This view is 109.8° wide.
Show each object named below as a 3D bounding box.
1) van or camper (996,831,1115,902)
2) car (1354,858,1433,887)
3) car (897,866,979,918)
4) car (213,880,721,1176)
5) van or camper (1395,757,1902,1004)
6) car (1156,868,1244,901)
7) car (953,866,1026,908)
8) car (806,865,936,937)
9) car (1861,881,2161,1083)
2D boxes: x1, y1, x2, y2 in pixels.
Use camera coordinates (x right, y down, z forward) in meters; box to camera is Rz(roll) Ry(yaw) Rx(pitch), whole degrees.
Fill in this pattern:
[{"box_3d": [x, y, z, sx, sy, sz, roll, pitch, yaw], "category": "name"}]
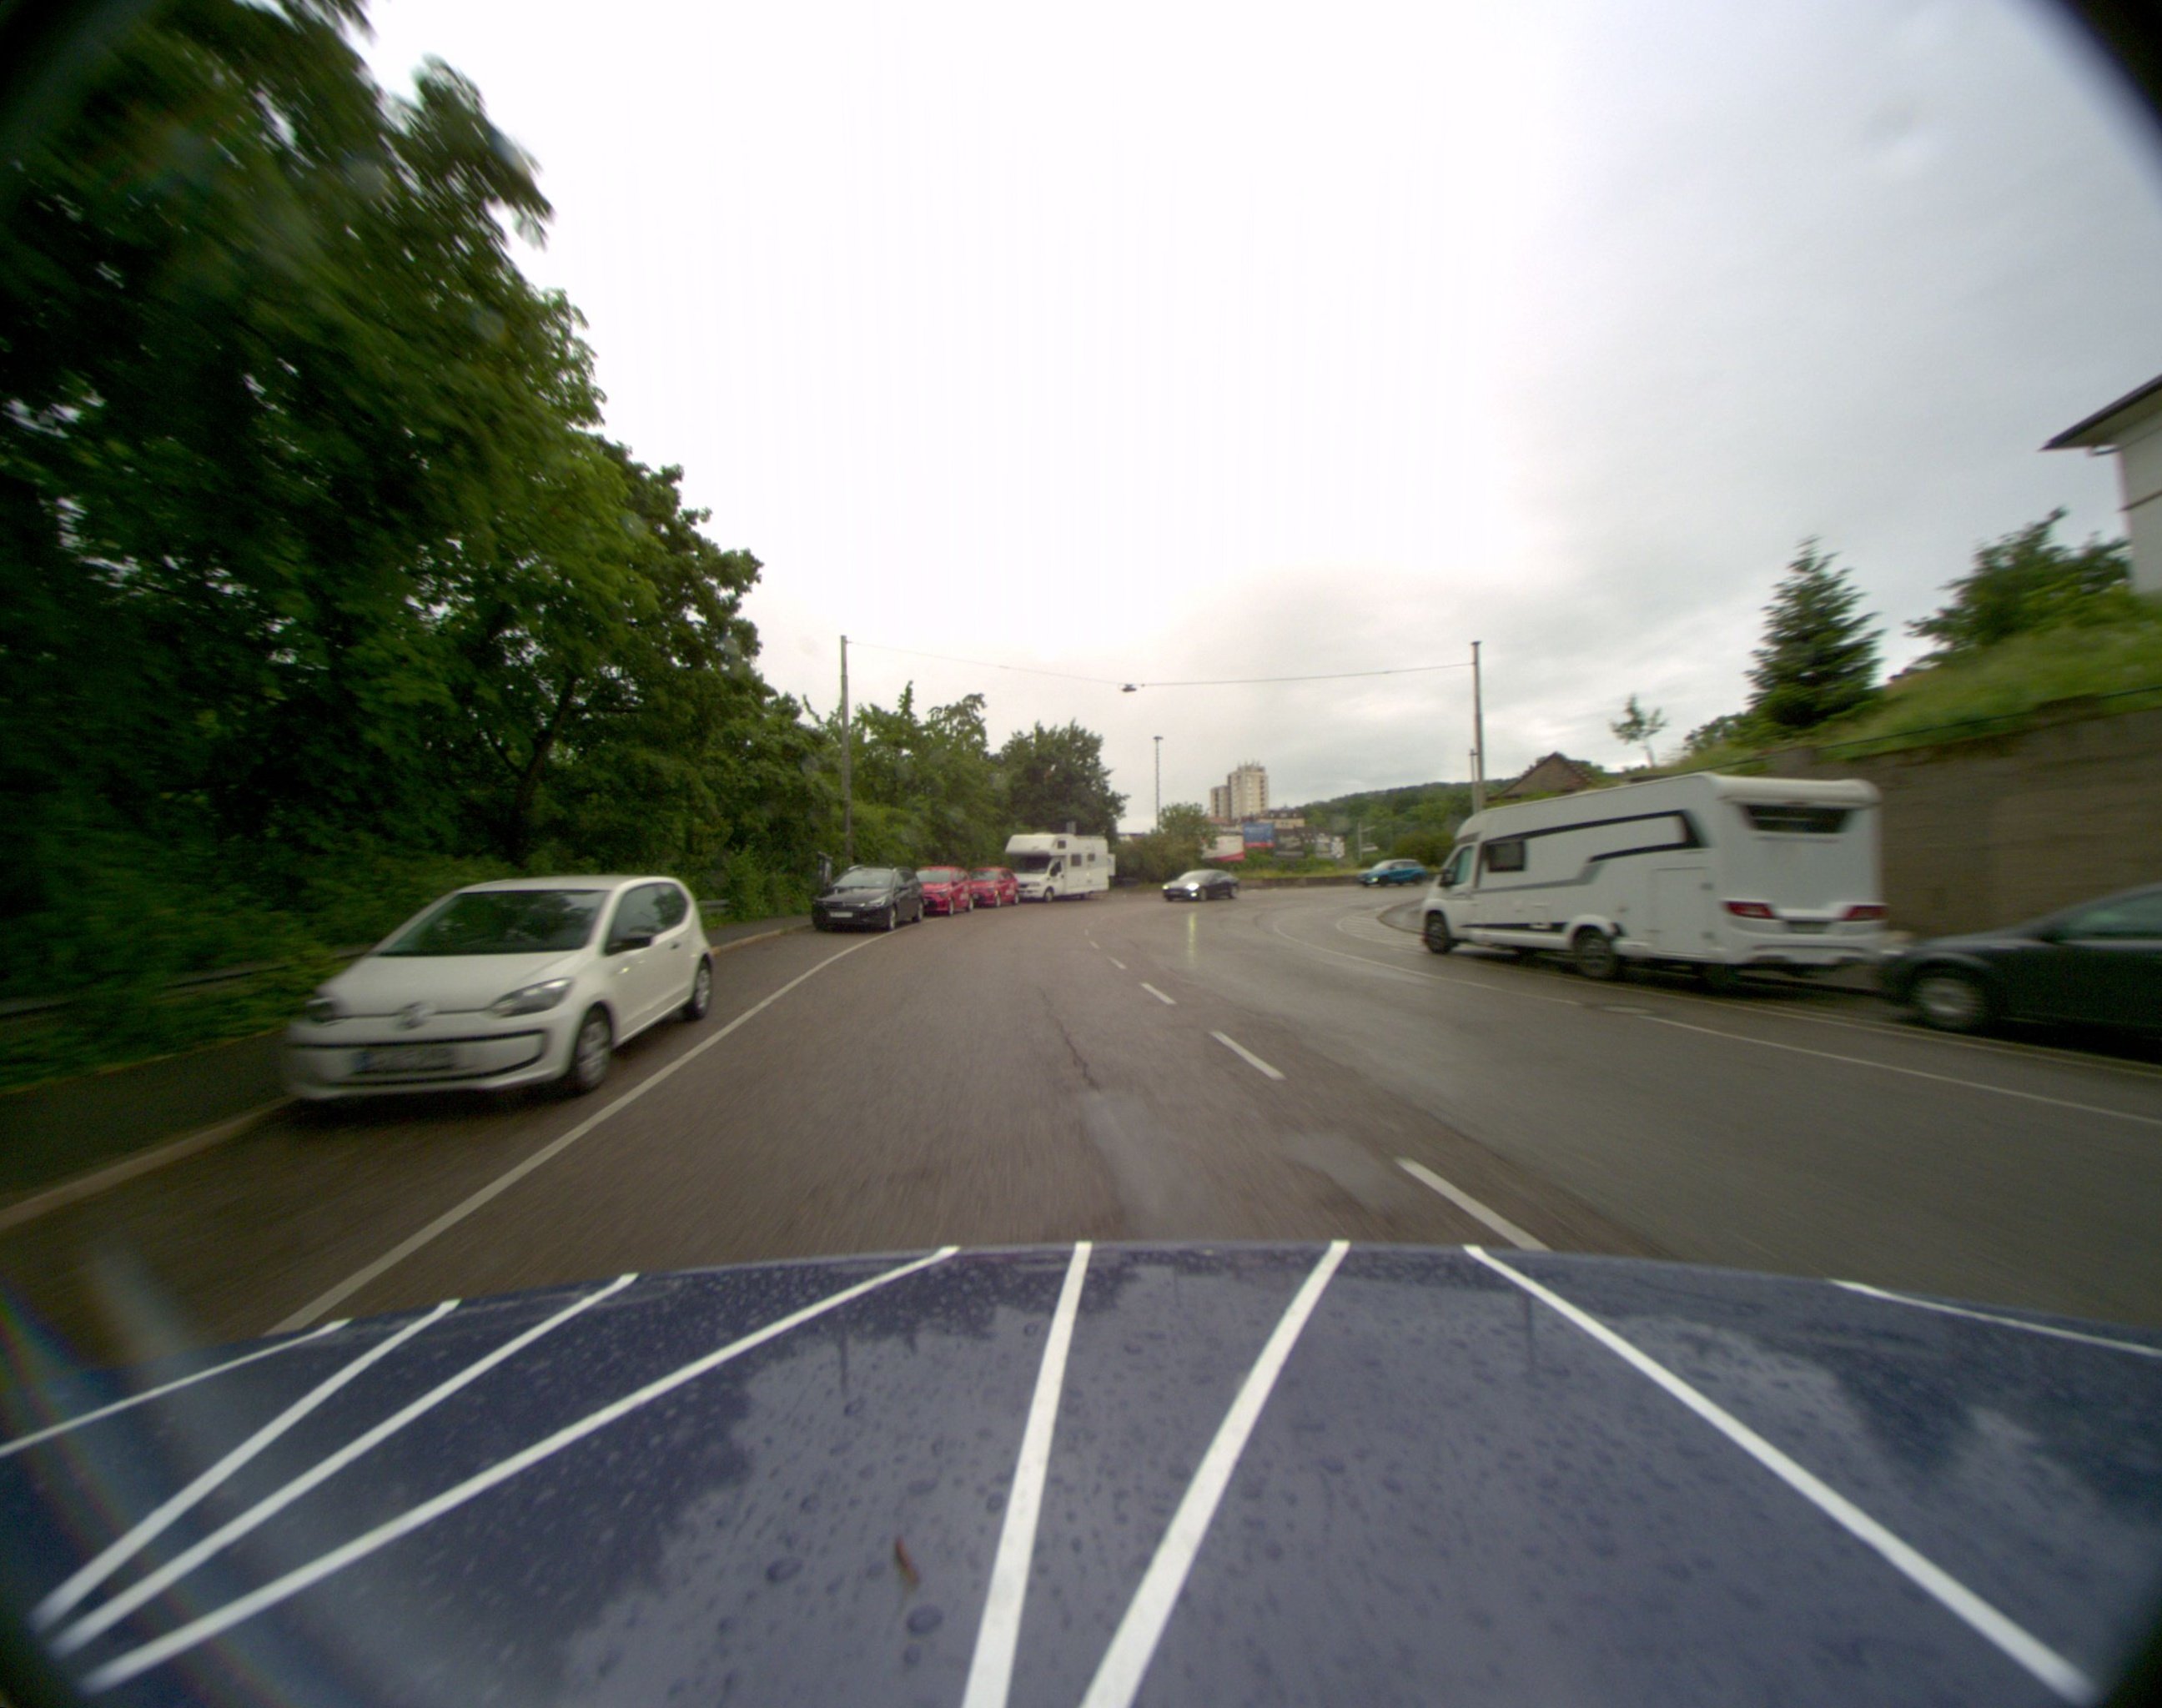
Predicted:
[{"box_3d": [-0.993, 0.534, 34.570, 2.391, 2.927, 6.294, 0, 0, 30], "category": "van or camper"}, {"box_3d": [18.874, 1.128, 45.925, 4.042, 1.599, 1.802, 1, -5, -11], "category": "car"}, {"box_3d": [-4.405, 1.138, 23.939, 1.561, 1.504, 3.678, 0, -1, 6], "category": "car"}, {"box_3d": [-4.370, 1.045, 6.216, 1.590, 1.493, 3.664, -2, 0, -10], "category": "car"}, {"box_3d": [7.974, 0.412, 12.168, 2.162, 2.771, 7.046, 1, -2, -8], "category": "van or camper"}, {"box_3d": [5.687, 1.396, 35.923, 4.333, 1.384, 1.831, 0, 0, -44], "category": "car"}, {"box_3d": [-3.419, 1.208, 29.028, 1.643, 1.452, 3.810, 1, 0, 11], "category": "car"}, {"box_3d": [-4.954, 1.043, 18.621, 1.722, 1.504, 4.596, 0, -1, 2], "category": "car"}, {"box_3d": [8.908, 0.939, 5.470, 1.793, 1.489, 4.369, 0, -2, -8], "category": "car"}]
